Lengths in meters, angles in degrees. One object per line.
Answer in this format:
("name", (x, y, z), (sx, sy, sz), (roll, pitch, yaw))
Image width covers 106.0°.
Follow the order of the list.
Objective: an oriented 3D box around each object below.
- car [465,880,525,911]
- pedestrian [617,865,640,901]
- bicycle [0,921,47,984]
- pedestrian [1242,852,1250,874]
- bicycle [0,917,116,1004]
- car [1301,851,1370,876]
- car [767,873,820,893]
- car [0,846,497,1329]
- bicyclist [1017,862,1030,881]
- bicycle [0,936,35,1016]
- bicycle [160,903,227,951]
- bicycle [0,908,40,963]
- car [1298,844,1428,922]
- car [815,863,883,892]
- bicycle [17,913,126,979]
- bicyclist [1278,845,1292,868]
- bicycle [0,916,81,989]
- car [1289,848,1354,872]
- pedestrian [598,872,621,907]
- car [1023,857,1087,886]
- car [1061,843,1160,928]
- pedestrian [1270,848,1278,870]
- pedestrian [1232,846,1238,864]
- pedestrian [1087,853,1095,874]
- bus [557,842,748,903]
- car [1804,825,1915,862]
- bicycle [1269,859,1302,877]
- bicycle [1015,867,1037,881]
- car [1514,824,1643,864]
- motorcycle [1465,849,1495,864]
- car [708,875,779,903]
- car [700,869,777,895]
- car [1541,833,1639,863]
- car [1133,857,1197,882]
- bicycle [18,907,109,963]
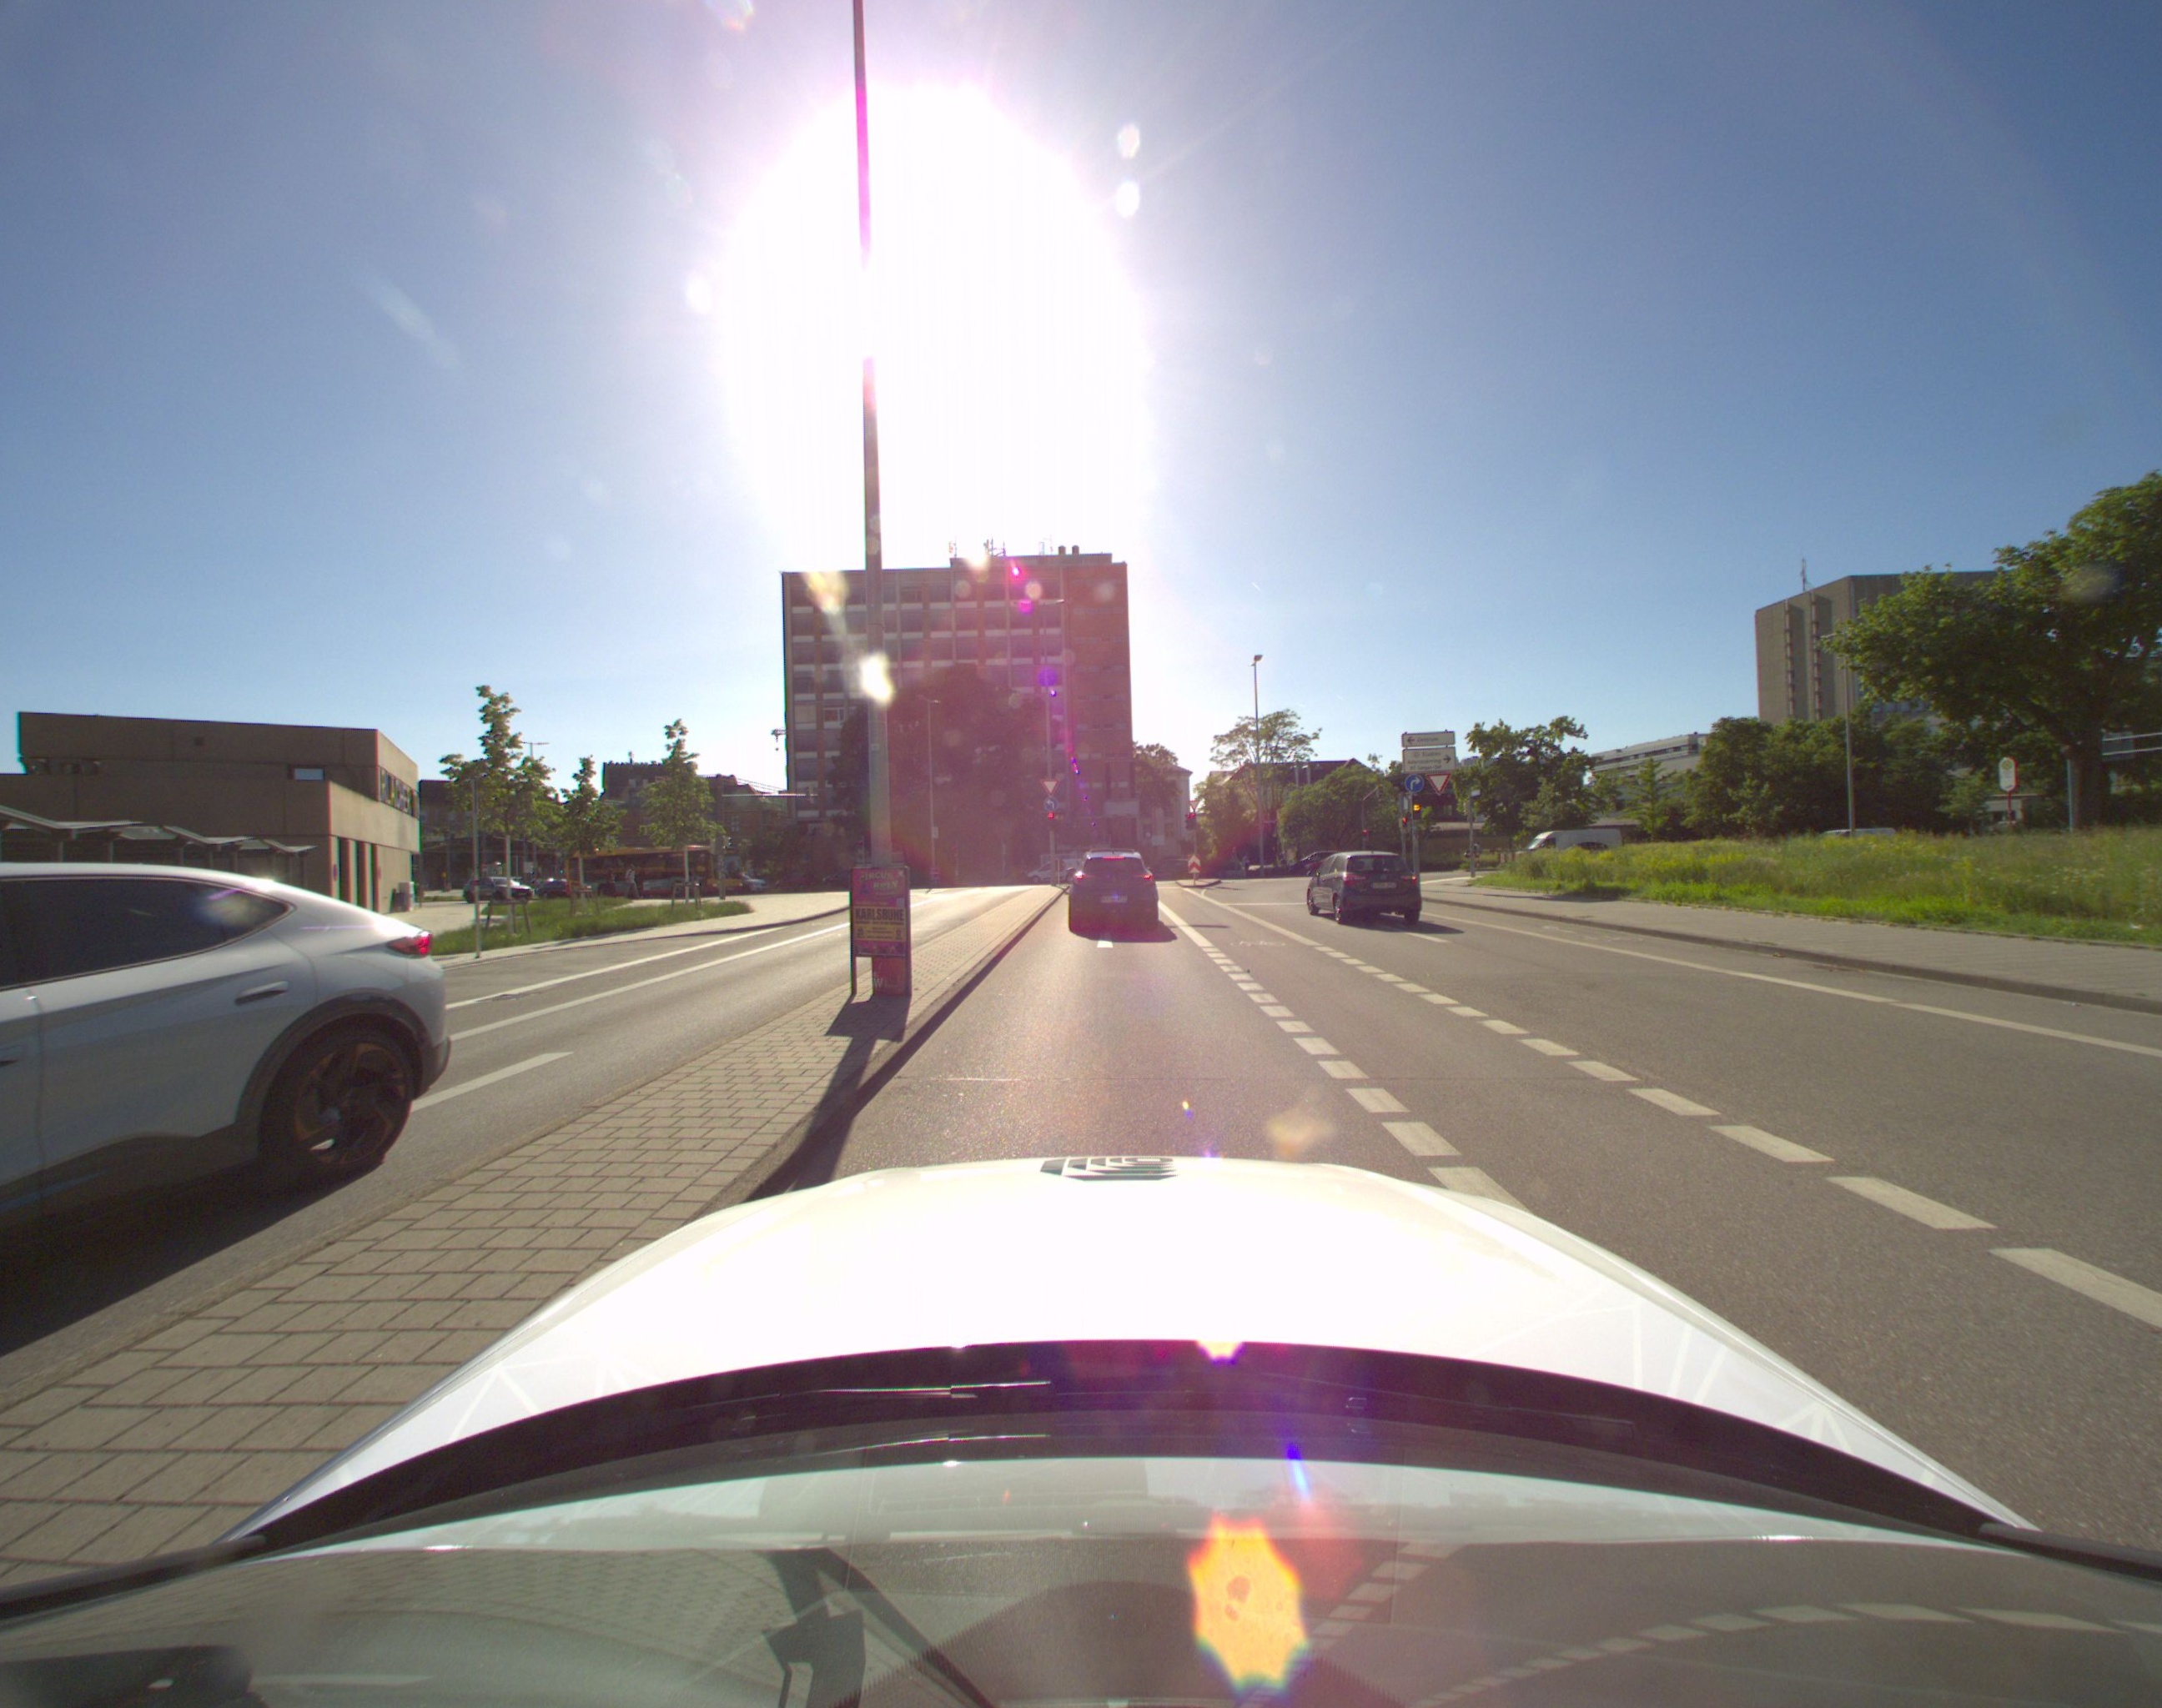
("car", (-39.931, 2.816, 55.443), (3.948, 2.014, 2.024), (-2, -2, 33))
("pedestrian", (-22.553, 1.453, 40.620), (0.620, 1.741, 0.791), (-2, -2, 17))
("bicycle", (-19.939, 1.817, 14.884), (0.584, 1.088, 1.882), (0, -2, -29))
("pedestrian", (13.140, 0.721, 64.727), (0.556, 1.670, 0.478), (-2, -2, 16))
("bicycle", (-14.404, 1.444, 11.330), (0.584, 1.052, 1.954), (0, -2, -29))
("car", (16.284, 0.595, 52.303), (3.964, 1.464, 2.005), (-2, -1, 8))
("car", (-24.182, 2.427, 68.504), (3.863, 1.586, 1.889), (-2, -2, 19))
("car", (-4.454, 0.815, 2.709), (1.812, 1.568, 4.250), (-4, 0, 1))
("bicyclist", (-4.656, 1.401, 65.660), (0.822, 1.444, 0.613), (-2, 0, -35))
("bicycle", (-13.382, 1.507, 9.551), (0.584, 0.961, 2.039), (0, -2, -29))
("bicycle", (-21.773, 1.763, 20.013), (0.584, 1.088, 1.853), (0, -2, -30))
("bicycle", (-22.772, 1.714, 17.029), (0.584, 1.088, 1.853), (0, -2, -30))
("car", (6.176, 0.618, 18.265), (1.749, 1.542, 3.661), (-1, -1, 3))
("car", (-17.053, 1.719, 59.932), (4.344, 2.014, 2.006), (-2, -2, 10))
("bicycle", (-18.952, 1.695, 15.345), (0.584, 1.088, 1.911), (0, -2, -29))
("bicyclist", (16.380, 0.221, 65.288), (0.848, 1.846, 0.856), (-2, -2, 30))
("bicycle", (-17.720, 1.614, 13.571), (0.584, 1.088, 2.039), (0, -2, -29))
("car", (16.356, 0.418, 55.510), (3.964, 1.464, 2.005), (-2, 0, 8))
("pedestrian", (-24.323, 1.828, 41.993), (0.648, 1.741, 0.791), (-2, -2, 17))
("car", (-1.907, 1.300, 60.139), (4.320, 2.014, 2.006), (-2, -2, 10))
("car", (0.519, 0.623, 17.392), (1.819, 1.600, 3.654), (0, -1, -3))
("pedestrian", (14.871, 0.392, 62.734), (0.552, 1.670, 0.478), (-2, -2, 16))
("pedestrian", (14.804, 0.129, 78.207), (0.573, 1.670, 0.564), (-2, -2, 11))
("pedestrian", (0.839, 0.800, 68.259), (0.556, 1.670, 0.478), (-2, -2, 16))
("bus", (-26.673, 1.230, 50.560), (12.302, 3.396, 2.896), (-2, -2, 19))
("car", (51.166, -0.681, 53.613), (5.063, 2.225, 2.078), (-2, 0, 6))
("bicycle", (16.382, 1.127, 65.274), (2.427, 1.370, 0.856), (-2, -2, 30))
("bicycle", (-4.470, 1.613, 65.783), (1.679, 1.093, 0.604), (-2, 0, -36))
("car", (33.398, -0.646, 54.852), (7.116, 2.423, 2.078), (-2, 0, 6))
("motorcycle", (30.690, 0.191, 62.624), (2.030, 1.136, 0.674), (-2, -2, 23))
("car", (-25.550, 2.626, 61.678), (4.617, 2.014, 2.007), (-2, -2, 14))
("car", (-22.046, 1.815, 52.451), (4.361, 1.522, 1.979), (-2, -2, 18))
("car", (32.146, -0.381, 51.573), (4.827, 1.746, 2.078), (-2, 0, 6))
("car", (5.708, 1.078, 55.420), (4.086, 1.586, 1.886), (-2, -2, 13))
("bicycle", (-21.870, 1.708, 17.549), (0.584, 1.088, 1.853), (0, -2, -30))
